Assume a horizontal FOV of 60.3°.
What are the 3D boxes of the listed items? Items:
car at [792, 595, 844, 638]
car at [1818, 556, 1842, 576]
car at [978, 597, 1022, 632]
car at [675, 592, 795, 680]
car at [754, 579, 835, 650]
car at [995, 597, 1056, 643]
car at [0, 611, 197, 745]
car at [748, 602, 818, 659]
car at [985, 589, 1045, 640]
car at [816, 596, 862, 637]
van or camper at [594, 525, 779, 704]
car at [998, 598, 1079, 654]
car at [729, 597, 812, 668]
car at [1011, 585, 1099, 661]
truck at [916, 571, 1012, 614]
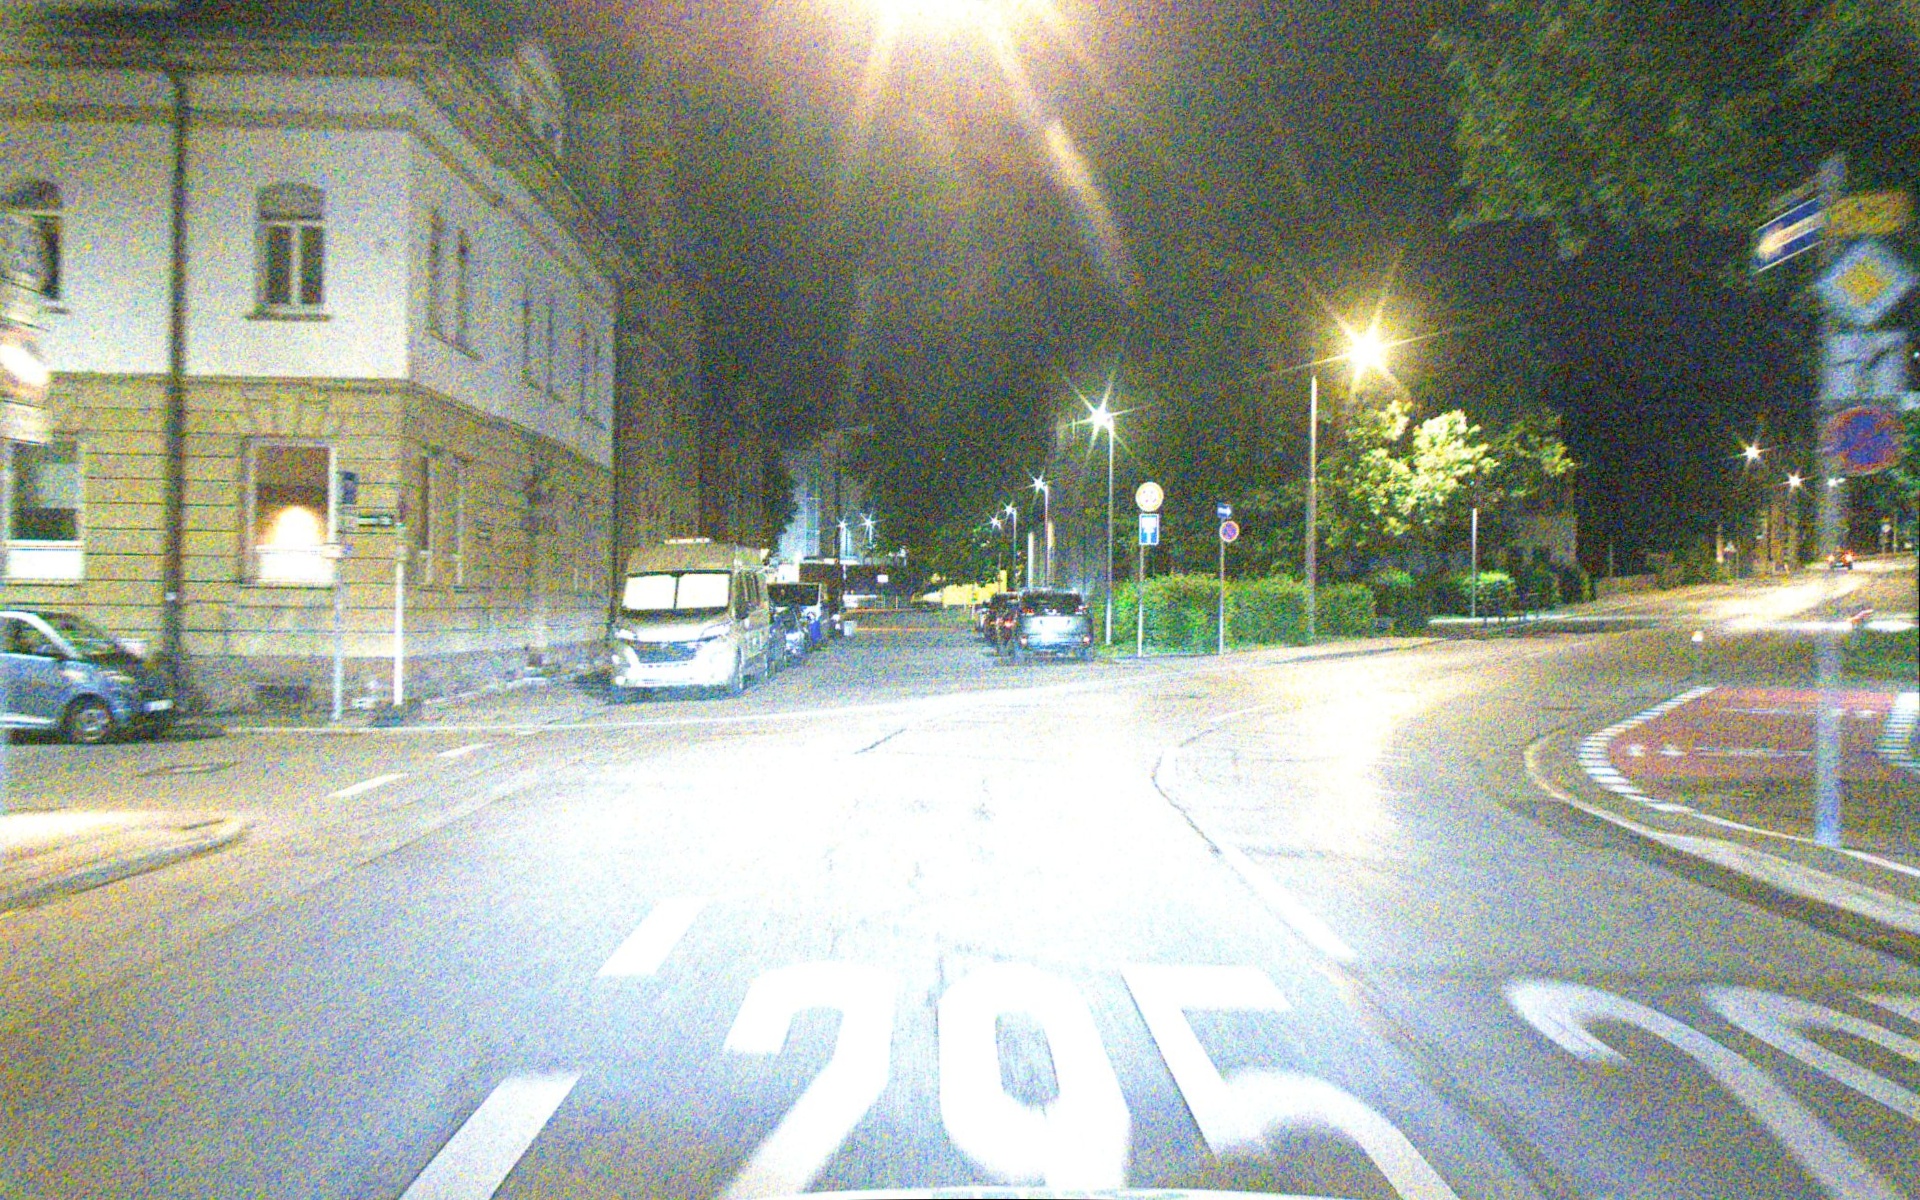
[{"bbox_3d":[-5.239,0.612,61.288,1.670,1.536,4.098,1,-1,-2],"label":"car"},{"bbox_3d":[87.028,-3.412,165.410,1.890,1.887,3.990,-1,-1,32],"label":"car"},{"bbox_3d":[1.750,0.616,72.789,1.722,1.470,4.024,-1,0,-2],"label":"car"},{"bbox_3d":[-4.465,0.678,33.459,1.853,1.618,4.373,-2,0,-1],"label":"car"},{"bbox_3d":[-4.849,0.406,48.967,1.953,1.989,4.805,0,0,-1],"label":"car"},{"bbox_3d":[2.172,0.640,56.026,1.842,1.439,4.472,-2,0,0],"label":"car"},{"bbox_3d":[-10.873,0.908,19.818,2.752,1.540,1.489,0,0,-1],"label":"car"},{"bbox_3d":[-4.644,0.779,43.817,1.658,1.423,4.076,0,0,-4],"label":"car"},{"bbox_3d":[1.995,0.522,61.594,1.998,1.724,4.881,-2,0,0],"label":"car"},{"bbox_3d":[-4.878,0.654,67.048,1.643,1.594,4.104,0,-1,-1],"label":"car"},{"bbox_3d":[-4.443,0.222,27.917,2.114,2.580,6.225,-2,0,-1],"label":"van or camper"},{"bbox_3d":[2.028,0.669,43.768,1.923,1.407,3.999,0,-1,0],"label":"car"},{"bbox_3d":[-4.494,0.712,38.886,1.804,1.533,4.734,-1,0,-7],"label":"car"},{"bbox_3d":[2.158,0.511,38.477,1.845,1.631,4.108,-2,0,1],"label":"car"},{"bbox_3d":[0.241,-0.537,115.977,6.642,2.894,1.999,0,0,-4],"label":"truck"}]
